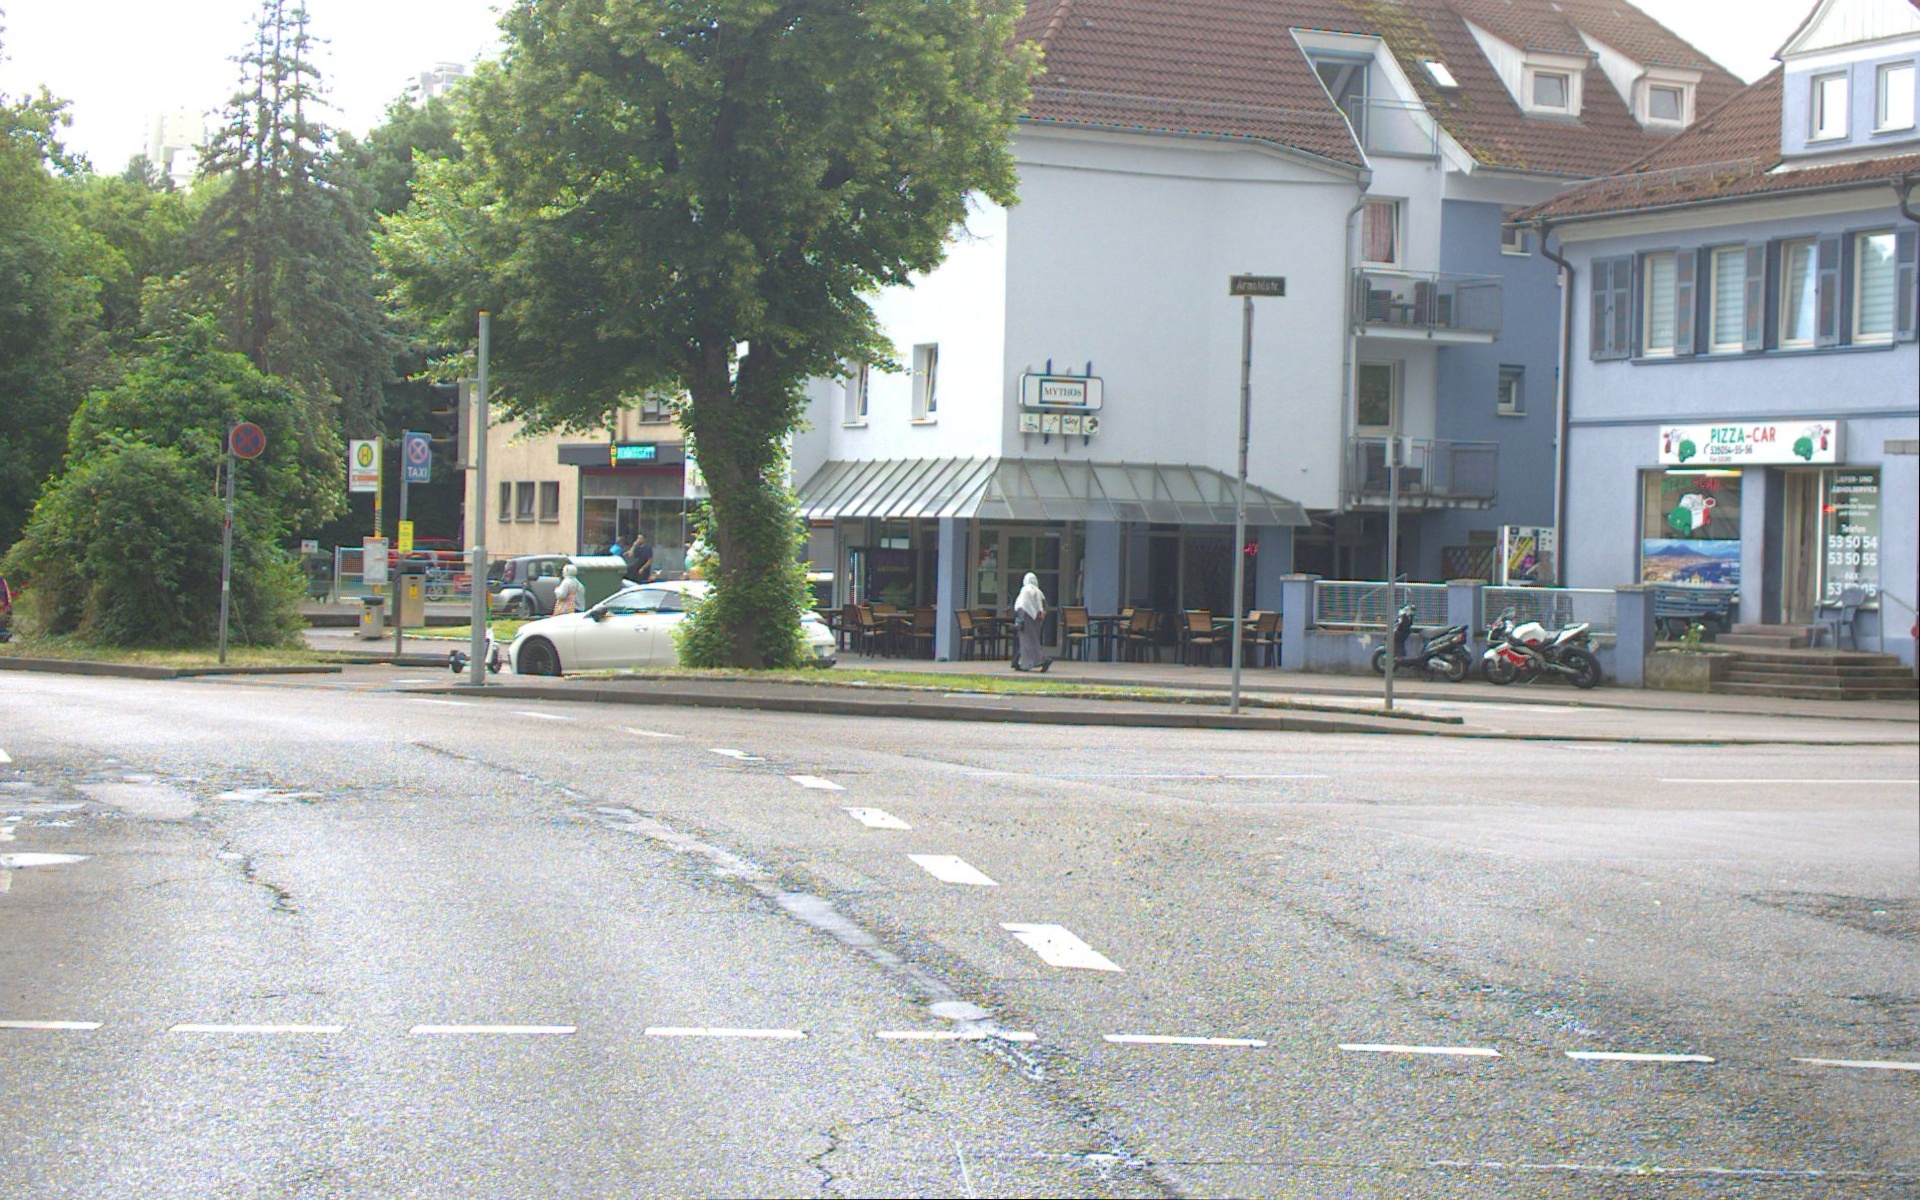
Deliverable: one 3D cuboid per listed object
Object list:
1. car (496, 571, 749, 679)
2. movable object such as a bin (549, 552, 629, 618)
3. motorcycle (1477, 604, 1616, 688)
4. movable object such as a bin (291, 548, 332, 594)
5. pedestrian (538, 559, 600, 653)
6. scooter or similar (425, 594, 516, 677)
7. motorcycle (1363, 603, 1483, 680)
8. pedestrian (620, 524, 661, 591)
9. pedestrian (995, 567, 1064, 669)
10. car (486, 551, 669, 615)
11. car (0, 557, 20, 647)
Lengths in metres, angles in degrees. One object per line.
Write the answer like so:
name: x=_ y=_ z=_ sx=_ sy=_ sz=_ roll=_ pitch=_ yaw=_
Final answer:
car: x=-4.535 y=0.316 z=46.044 sx=3.171 sy=1.350 sz=1.436 roll=2 pitch=1 yaw=35
movable object such as a bin: x=-7.988 y=-0.321 z=73.975 sx=1.440 sy=1.404 sz=0.967 roll=1 pitch=1 yaw=-27
motorcycle: x=8.253 y=0.633 z=48.382 sx=1.798 sy=1.118 sz=0.693 roll=2 pitch=1 yaw=38
movable object such as a bin: x=-16.252 y=-0.728 z=86.168 sx=0.950 sy=1.111 sz=0.383 roll=1 pitch=1 yaw=-21
pedestrian: x=-6.466 y=0.098 z=56.843 sx=0.707 sy=1.539 sz=0.677 roll=2 pitch=1 yaw=40
scooter or similar: x=-6.063 y=0.432 z=42.650 sx=0.417 sy=1.008 sz=1.565 roll=1 pitch=1 yaw=20
motorcycle: x=6.747 y=0.596 z=50.160 sx=1.636 sy=1.060 sz=0.693 roll=2 pitch=1 yaw=44
pedestrian: x=-7.484 y=-0.999 z=80.458 sx=0.676 sy=1.539 sz=0.708 roll=1 pitch=1 yaw=-34
pedestrian: x=1.065 y=0.269 z=52.533 sx=0.768 sy=1.539 sz=0.677 roll=1 pitch=1 yaw=39
car: x=-8.430 y=-0.363 z=75.873 sx=3.733 sy=1.340 sz=1.434 roll=1 pitch=1 yaw=-26
car: x=-16.518 y=-0.012 z=53.722 sx=3.590 sy=1.389 sz=1.469 roll=2 pitch=1 yaw=32
